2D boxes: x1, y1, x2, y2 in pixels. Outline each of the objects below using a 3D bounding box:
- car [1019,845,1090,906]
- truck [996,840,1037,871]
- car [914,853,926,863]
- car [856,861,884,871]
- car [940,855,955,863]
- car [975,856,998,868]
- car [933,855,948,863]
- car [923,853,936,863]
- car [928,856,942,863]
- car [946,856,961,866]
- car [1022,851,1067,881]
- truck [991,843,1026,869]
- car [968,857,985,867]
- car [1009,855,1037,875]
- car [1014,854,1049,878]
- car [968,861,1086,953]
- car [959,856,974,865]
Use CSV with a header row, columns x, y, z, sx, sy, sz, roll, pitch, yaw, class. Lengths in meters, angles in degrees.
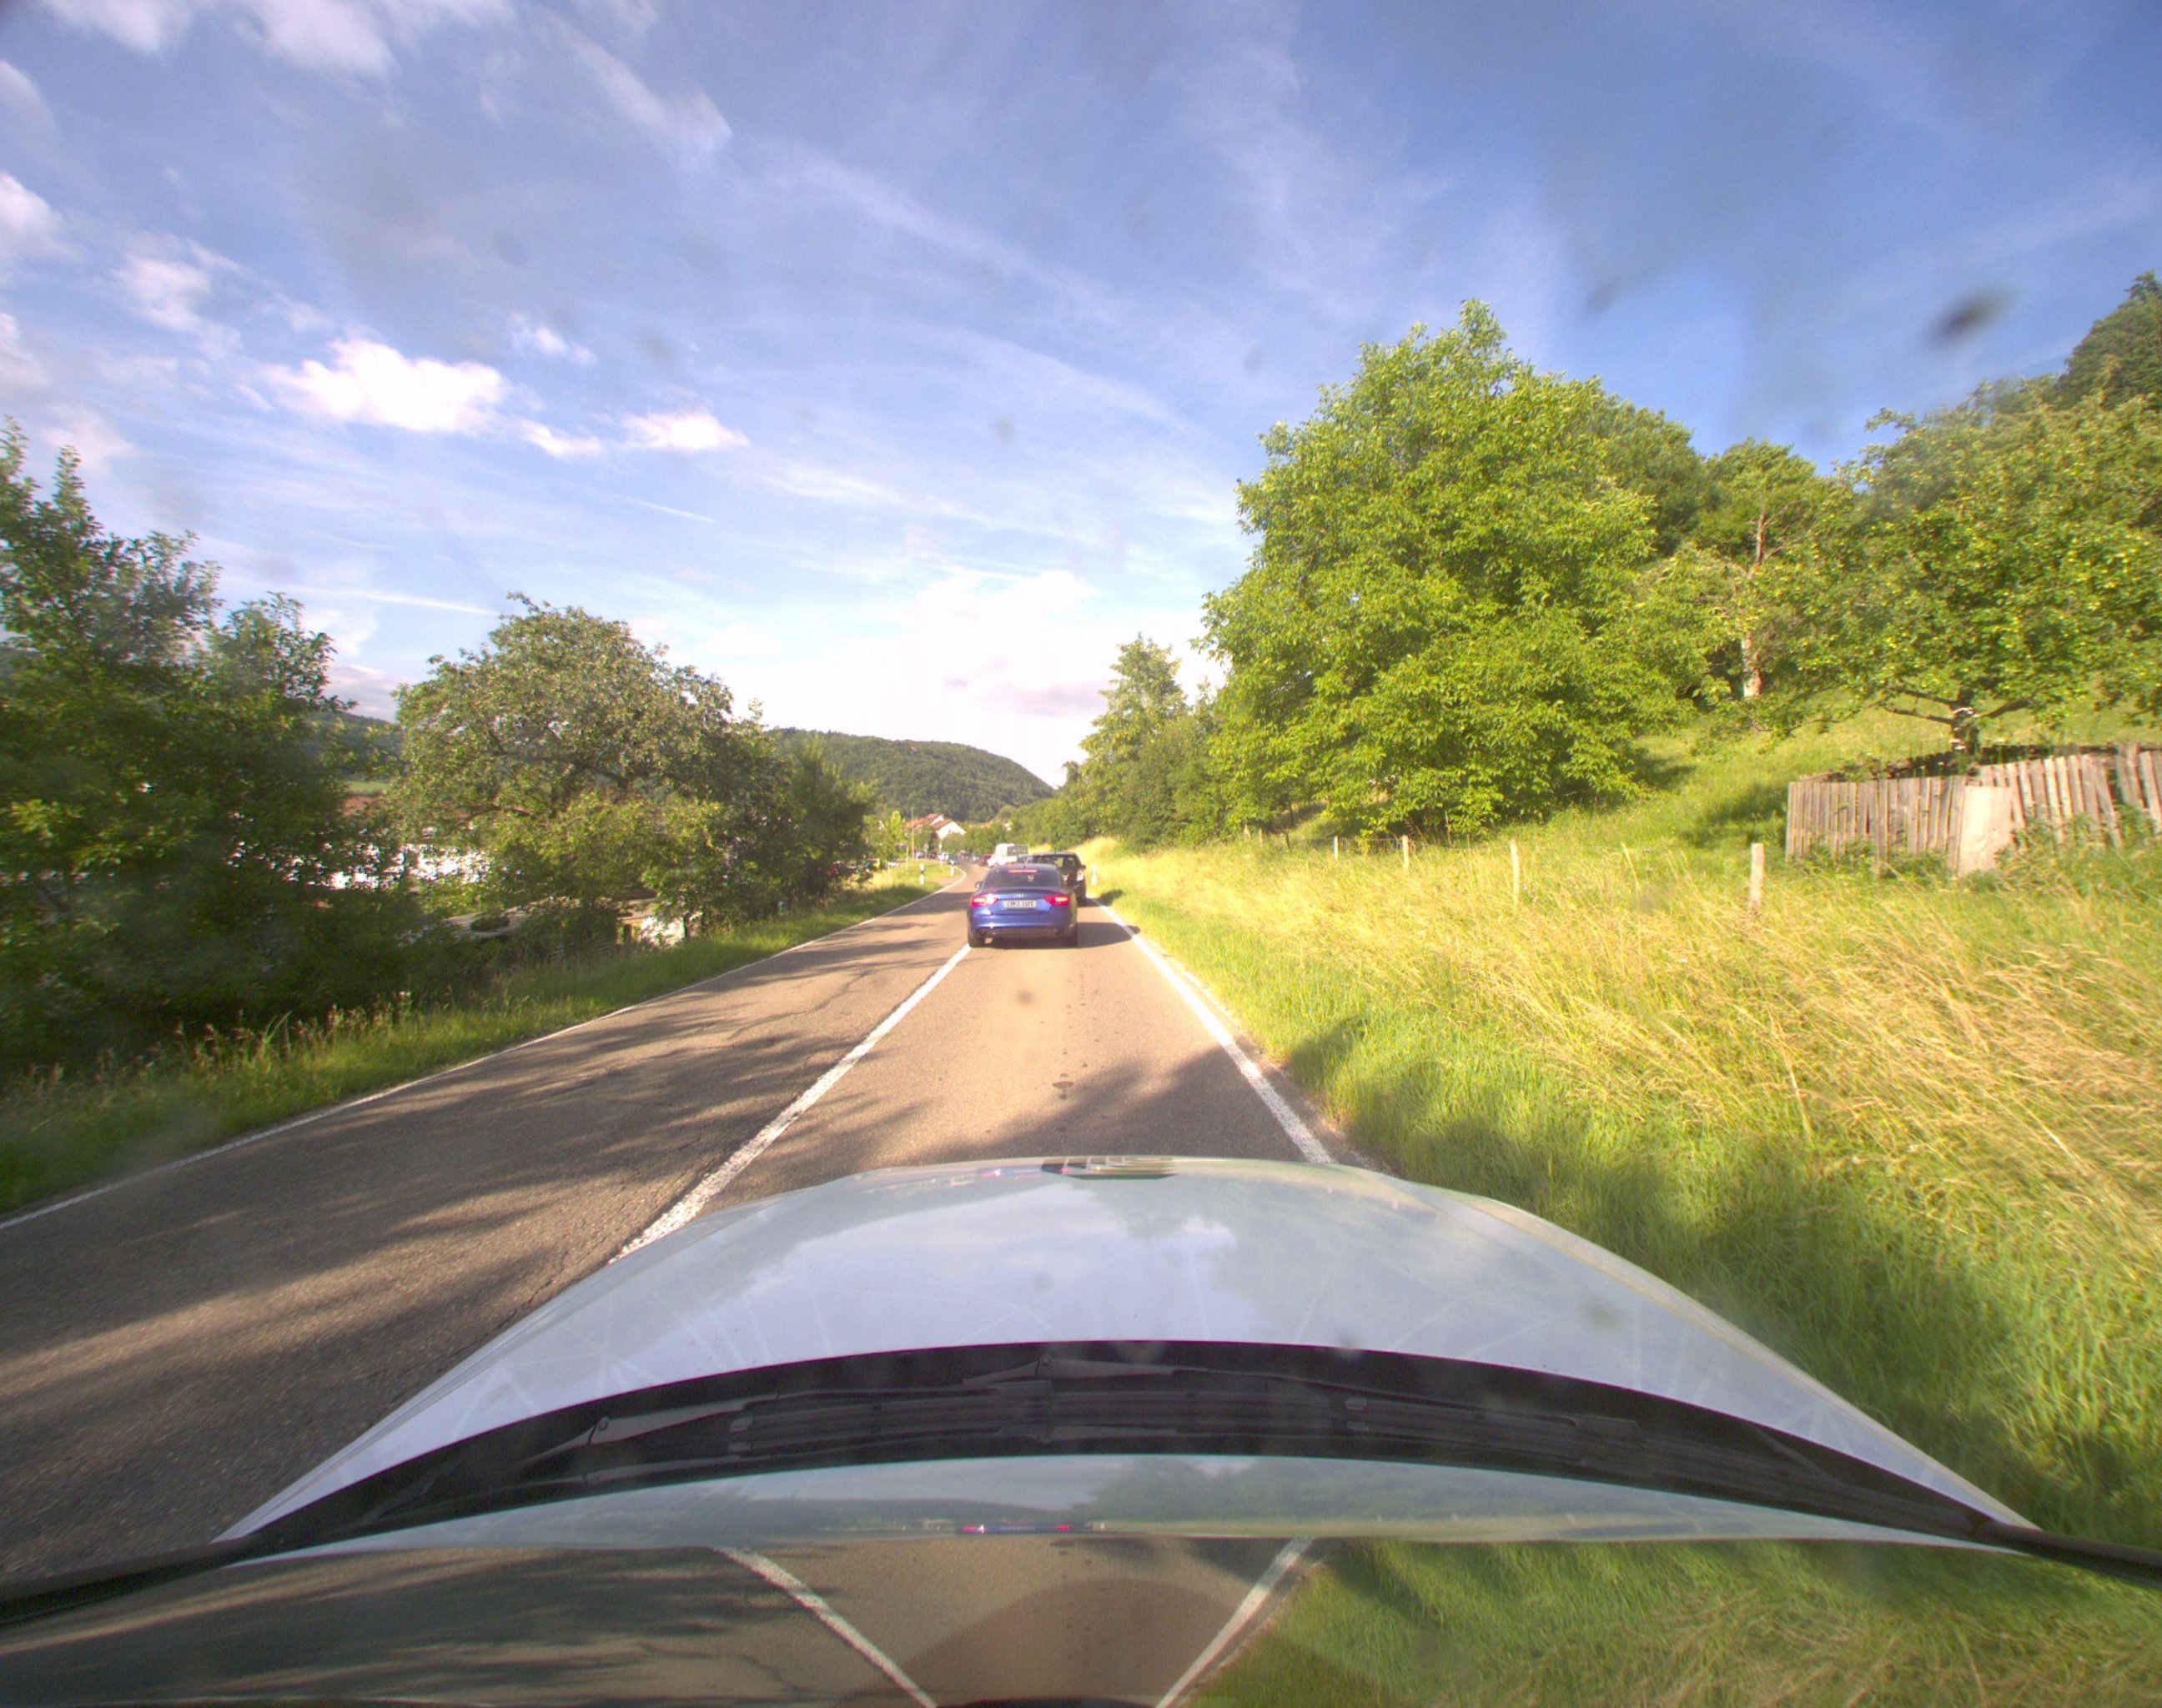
x,y,z,sx,sy,sz,roll,pitch,yaw,class
-0.784,0.627,24.841,1.988,1.702,3.998,0,-1,-1,car
-6.103,0.134,75.554,2.864,2.665,10.356,0,0,-10,truck
-35.787,0.901,181.211,2.001,2.014,3.972,0,-1,-21,car
-33.116,1.933,127.877,3.975,1.553,1.781,0,-1,-1,car
-24.176,0.932,147.226,2.001,1.482,3.971,0,-1,-22,car
-11.607,0.969,99.487,2.000,1.482,3.973,0,-1,-20,car
-26.529,0.992,153.737,2.001,1.482,3.971,0,-1,-22,car
-31.708,0.925,170.817,2.001,2.014,3.972,0,-1,-21,car
-28.856,1.076,160.999,2.001,1.482,3.971,0,-1,-22,car
-18.034,0.932,115.516,1.993,1.376,3.988,0,-1,-9,car
-1.862,0.595,40.153,1.991,1.387,3.991,0,-1,-6,car
-7.810,0.213,86.438,2.864,2.665,10.607,0,0,-10,truck
-15.460,1.179,120.606,1.997,1.482,3.978,0,-1,-16,car
-4.587,0.838,64.091,1.991,1.482,3.991,0,-1,-6,car
-3.278,0.771,53.413,1.992,1.482,3.989,0,-1,-8,car
-0.907,0.836,14.597,1.789,1.360,3.997,-1,0,-2,car
-18.618,1.024,132.189,1.997,1.482,3.978,0,-1,-16,car
